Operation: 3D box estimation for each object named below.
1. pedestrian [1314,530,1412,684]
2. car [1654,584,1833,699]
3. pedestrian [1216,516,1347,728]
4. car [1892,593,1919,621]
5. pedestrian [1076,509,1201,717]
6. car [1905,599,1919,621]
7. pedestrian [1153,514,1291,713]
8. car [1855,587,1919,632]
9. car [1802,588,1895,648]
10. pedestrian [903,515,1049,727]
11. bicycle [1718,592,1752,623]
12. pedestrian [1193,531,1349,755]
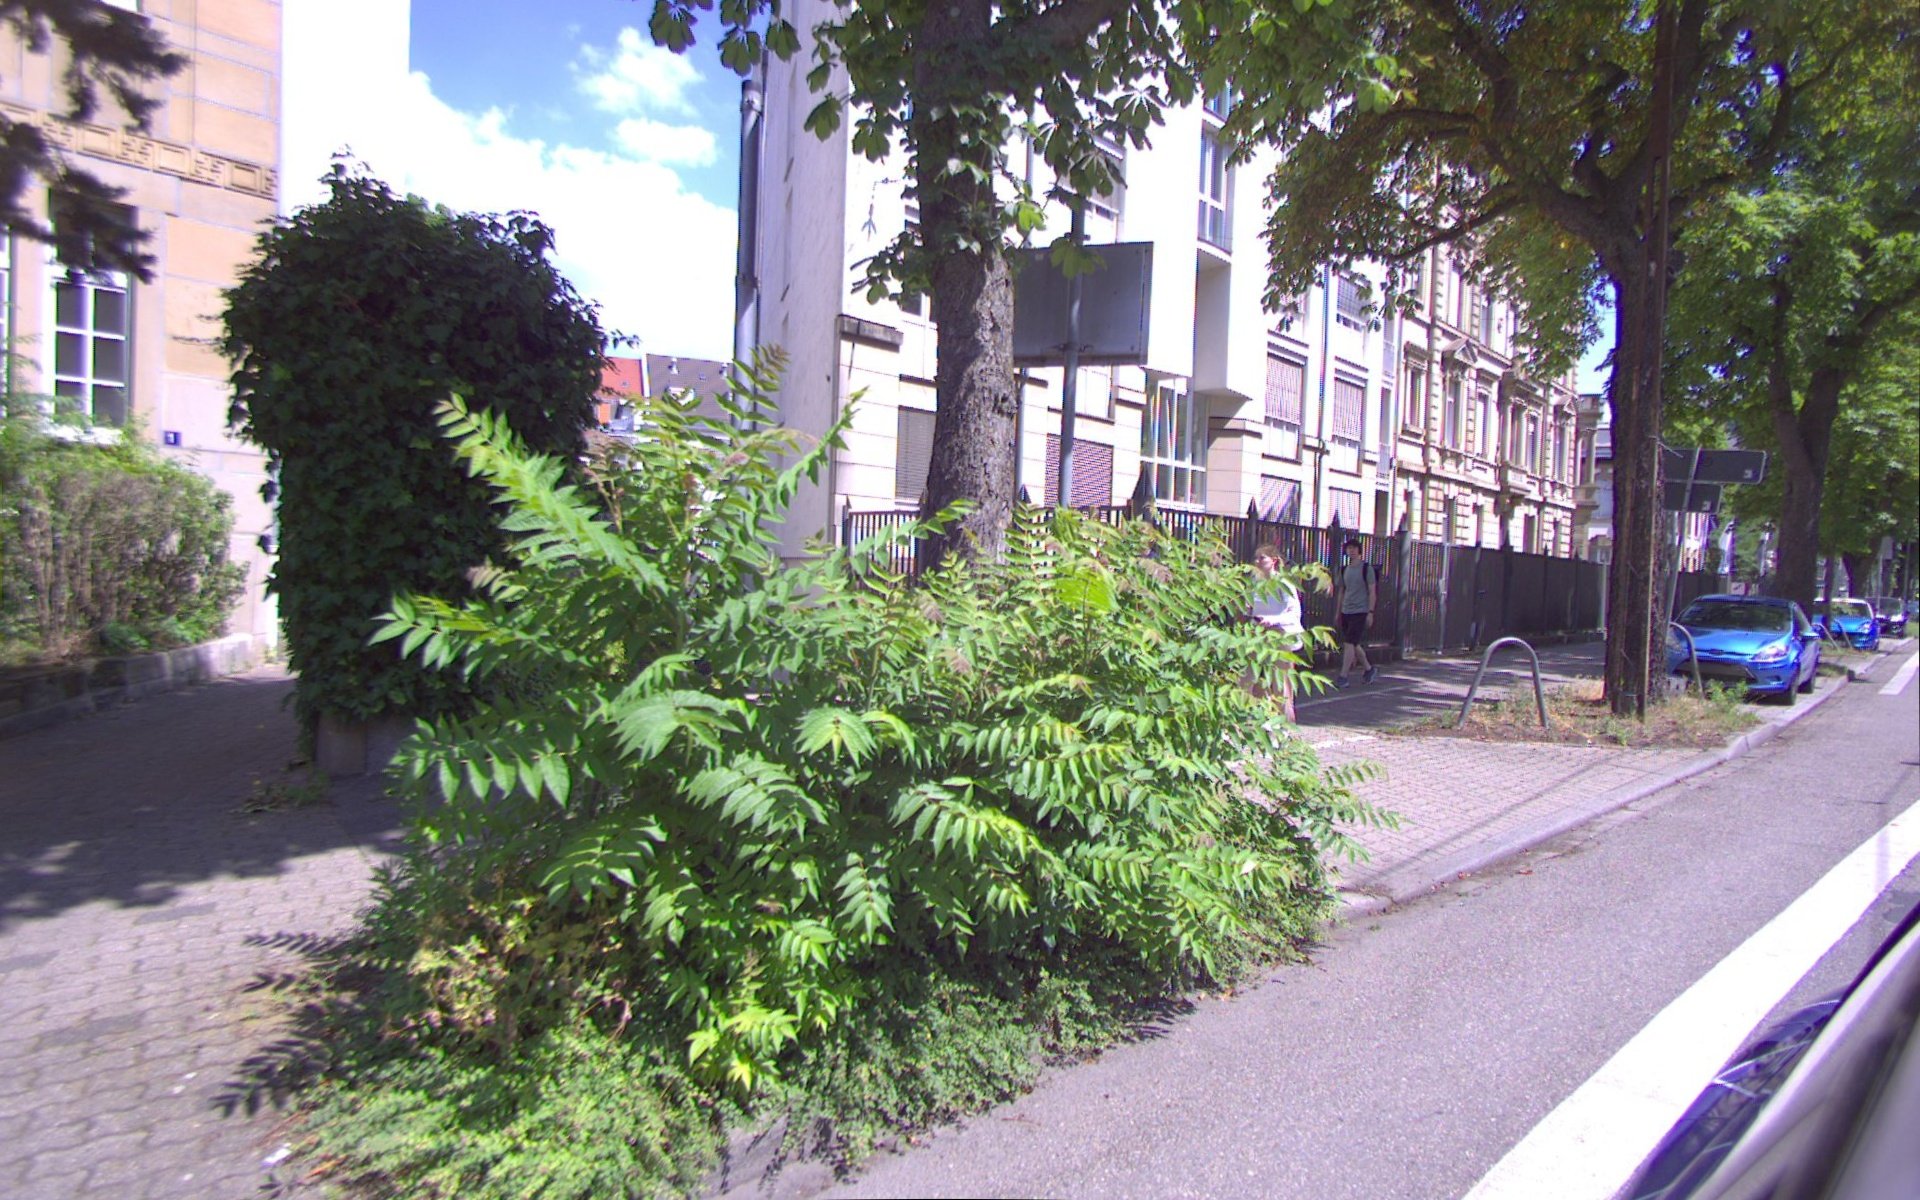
[{"bbox_3d":[5.001,0.070,12.544,1.066,1.819,0.685,0,2,-45],"label":"pedestrian"},{"bbox_3d":[11.872,0.539,15.254,1.678,1.461,3.661,4,3,44],"label":"car"},{"bbox_3d":[2.913,0.174,9.157,0.931,1.798,0.705,1,2,-44],"label":"pedestrian"},{"bbox_3d":[53.374,0.423,56.537,3.760,1.419,1.624,0,5,-45],"label":"car"},{"bbox_3d":[1.680,0.100,9.509,0.961,1.834,0.661,1,2,-45],"label":"pedestrian"},{"bbox_3d":[66.823,0.742,70.154,3.935,1.419,1.624,0,5,-45],"label":"car"},{"bbox_3d":[2.520,0.103,9.724,1.034,1.783,0.789,1,2,-42],"label":"pedestrian"},{"bbox_3d":[37.848,0.366,41.203,4.017,1.635,1.732,0,5,-44],"label":"car"},{"bbox_3d":[24.558,0.451,27.953,1.692,1.470,3.418,4,3,45],"label":"car"},{"bbox_3d":[0.132,0.145,8.546,0.823,1.666,0.858,0,3,-44],"label":"pedestrian"},{"bbox_3d":[28.461,0.287,37.155,1.947,1.084,0.608,0,2,-43],"label":"bicycle"},{"bbox_3d":[2.501,0.304,8.131,0.957,1.671,0.767,1,2,-43],"label":"pedestrian"}]
